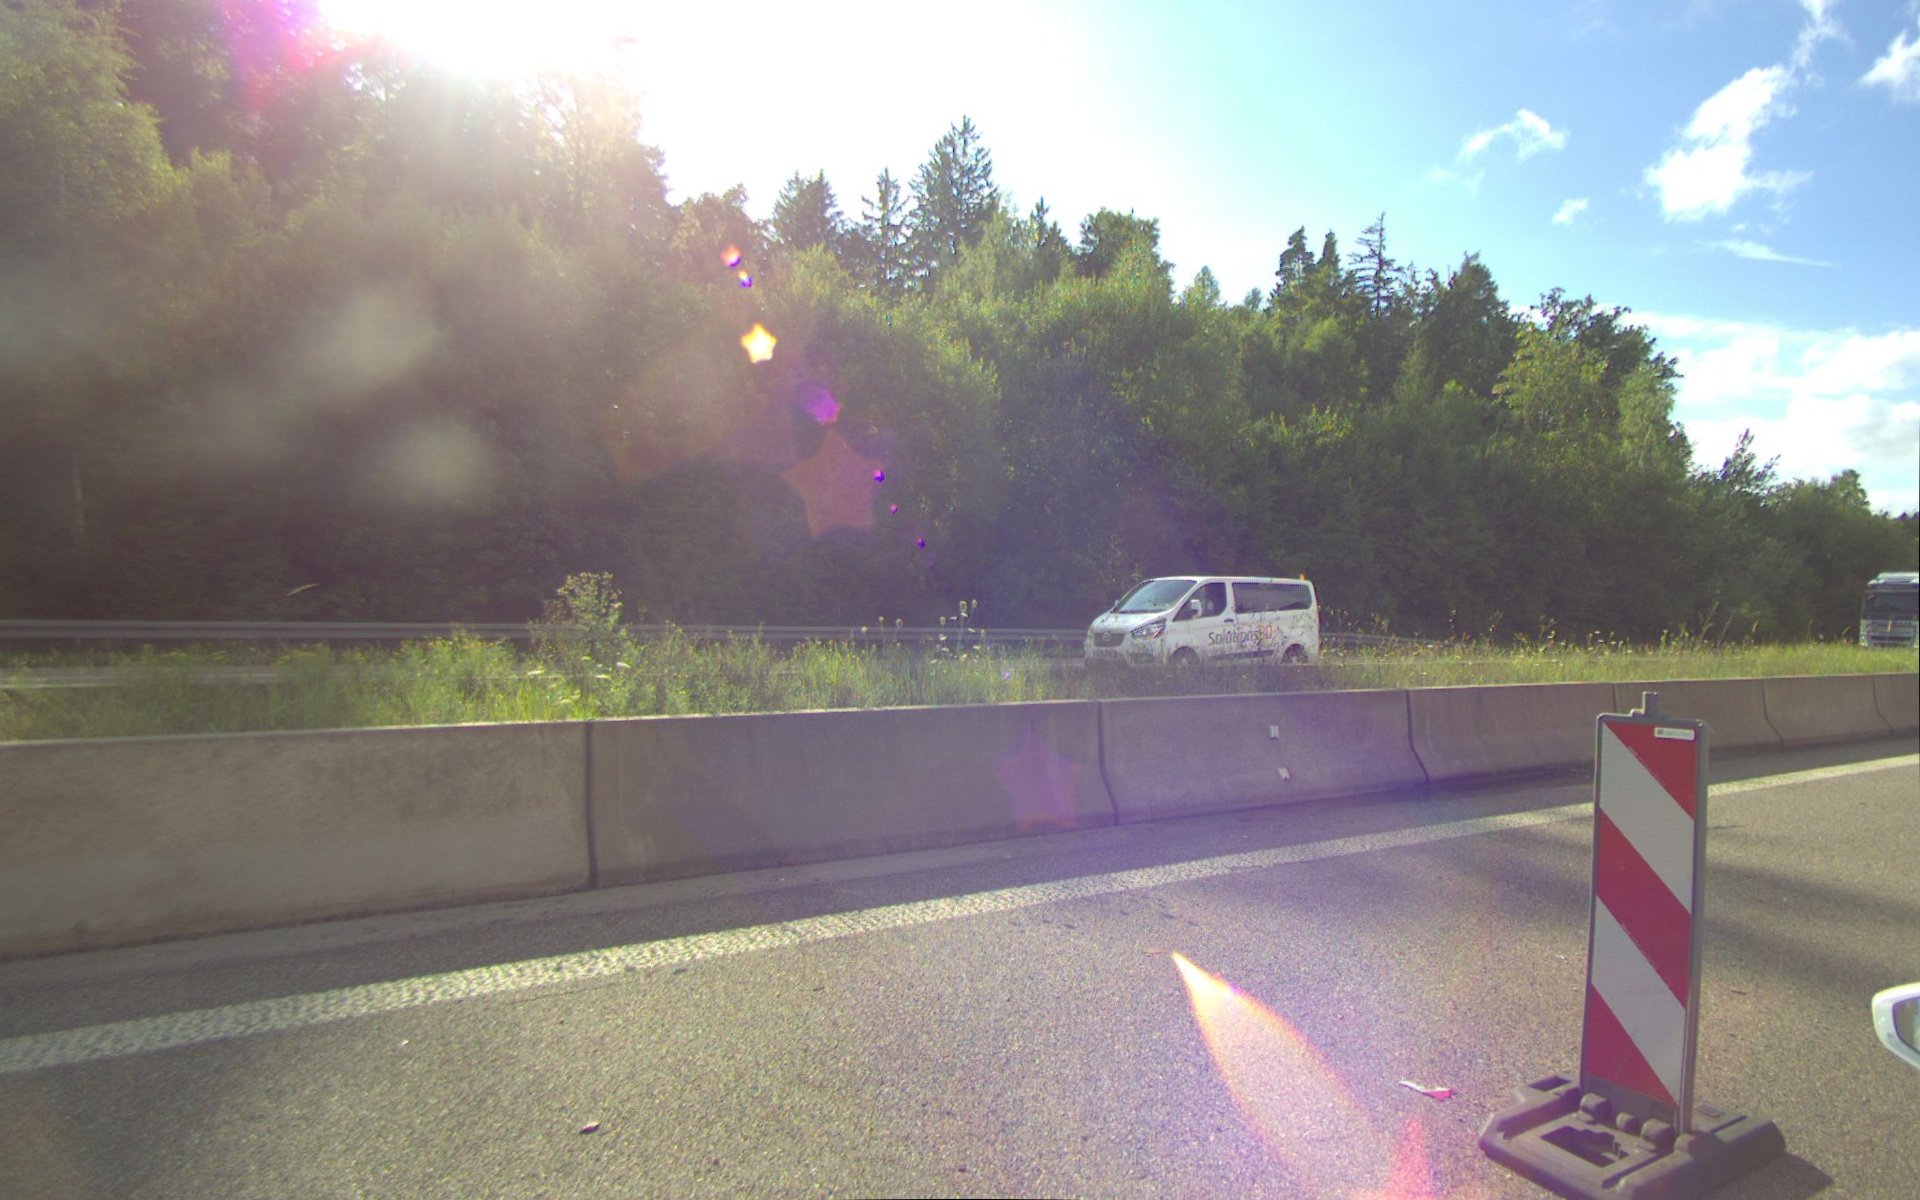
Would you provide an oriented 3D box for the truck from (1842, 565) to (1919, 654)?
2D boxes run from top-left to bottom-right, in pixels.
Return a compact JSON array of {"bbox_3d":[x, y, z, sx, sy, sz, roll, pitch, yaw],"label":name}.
[{"bbox_3d":[44.760,0.482,47.511,5.879,3.961,2.813,2,0,-30],"label":"truck"}]

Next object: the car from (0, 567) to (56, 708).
[{"bbox_3d":[-11.570,0.299,9.405,4.237,1.381,1.949,2,0,-30],"label":"car"}]

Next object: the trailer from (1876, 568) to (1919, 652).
[{"bbox_3d":[51.642,0.685,51.670,13.780,3.974,2.813,2,0,-31],"label":"trailer"}]

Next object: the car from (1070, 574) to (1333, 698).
[{"bbox_3d":[4.549,0.645,18.681,4.779,2.040,1.982,2,0,-32],"label":"car"}]
